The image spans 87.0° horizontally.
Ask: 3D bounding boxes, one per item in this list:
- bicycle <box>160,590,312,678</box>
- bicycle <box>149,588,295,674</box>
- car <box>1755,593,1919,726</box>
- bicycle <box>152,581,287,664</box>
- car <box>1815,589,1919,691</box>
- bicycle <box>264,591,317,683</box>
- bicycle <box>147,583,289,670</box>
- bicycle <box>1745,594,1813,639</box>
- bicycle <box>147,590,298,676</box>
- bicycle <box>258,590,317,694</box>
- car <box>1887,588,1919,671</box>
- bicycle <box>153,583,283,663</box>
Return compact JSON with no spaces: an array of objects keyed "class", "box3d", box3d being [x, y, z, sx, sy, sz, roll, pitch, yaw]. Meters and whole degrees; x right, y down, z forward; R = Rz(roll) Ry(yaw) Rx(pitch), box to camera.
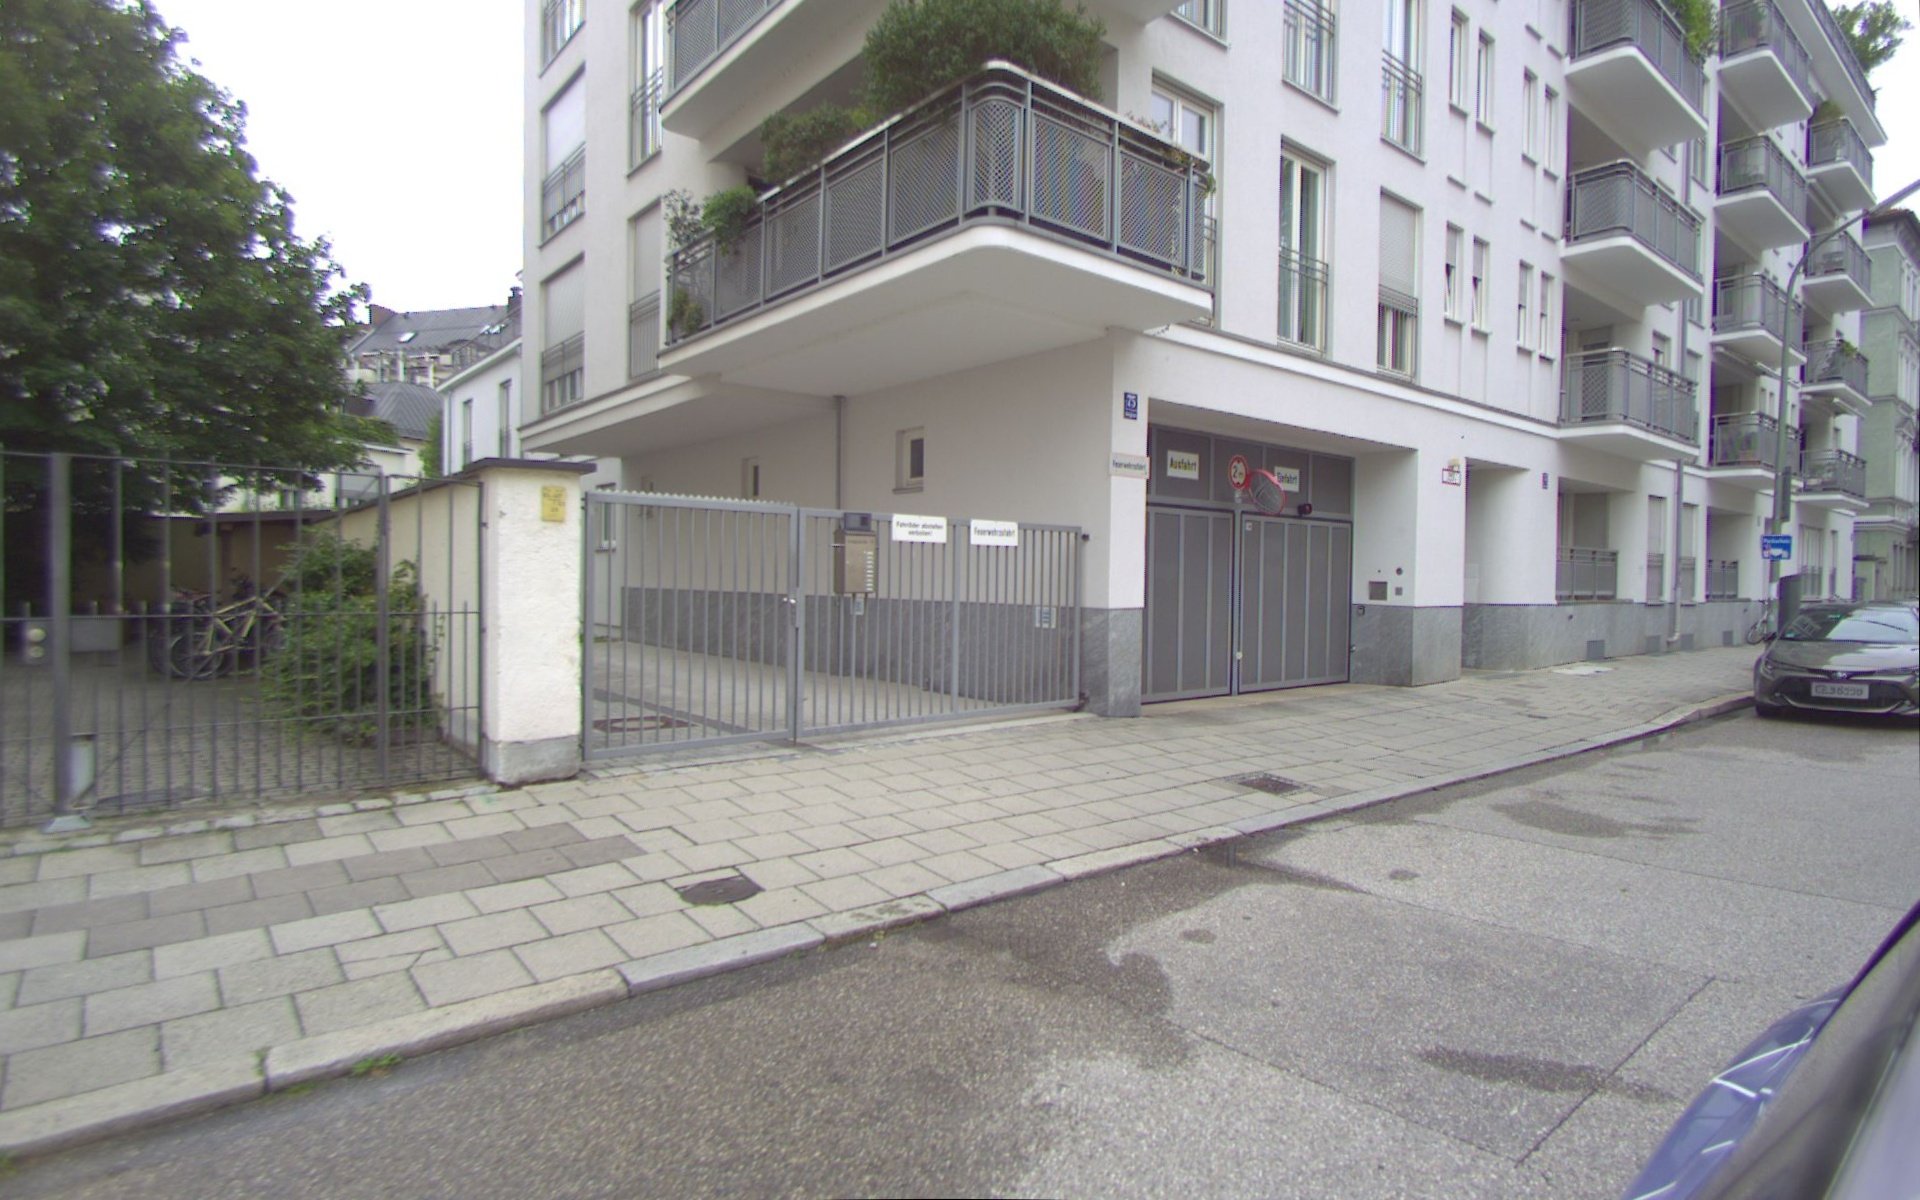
[{"class":"bicycle","box3d":[-9.493,0.423,13.309,1.611,1.097,0.373,0,0,-38]},{"class":"bicycle","box3d":[-10.152,0.401,13.953,1.611,1.130,0.373,0,0,-39]},{"class":"car","box3d":[11.747,0.650,13.047,4.176,1.411,1.781,-1,2,-44]},{"class":"bicycle","box3d":[-11.028,0.314,15.097,1.611,1.175,0.423,0,0,-39]},{"class":"car","box3d":[15.228,0.583,16.269,3.359,1.475,1.765,-1,2,-41]},{"class":"bicycle","box3d":[-8.477,0.442,12.796,0.425,1.097,1.364,0,0,-39]},{"class":"bicycle","box3d":[-10.484,0.349,14.335,1.611,1.175,0.423,0,0,-39]},{"class":"bicycle","box3d":[19.827,0.384,24.486,1.913,1.027,0.582,0,0,-28]},{"class":"bicycle","box3d":[-9.852,0.421,13.562,1.611,1.097,0.373,0,0,-38]},{"class":"bicycle","box3d":[-7.526,0.434,11.309,0.425,1.097,1.364,0,0,-39]},{"class":"car","box3d":[18.876,0.532,18.996,3.682,1.475,1.765,-1,2,-41]},{"class":"bicycle","box3d":[-11.442,0.336,15.637,1.611,1.175,0.423,0,0,-39]}]
